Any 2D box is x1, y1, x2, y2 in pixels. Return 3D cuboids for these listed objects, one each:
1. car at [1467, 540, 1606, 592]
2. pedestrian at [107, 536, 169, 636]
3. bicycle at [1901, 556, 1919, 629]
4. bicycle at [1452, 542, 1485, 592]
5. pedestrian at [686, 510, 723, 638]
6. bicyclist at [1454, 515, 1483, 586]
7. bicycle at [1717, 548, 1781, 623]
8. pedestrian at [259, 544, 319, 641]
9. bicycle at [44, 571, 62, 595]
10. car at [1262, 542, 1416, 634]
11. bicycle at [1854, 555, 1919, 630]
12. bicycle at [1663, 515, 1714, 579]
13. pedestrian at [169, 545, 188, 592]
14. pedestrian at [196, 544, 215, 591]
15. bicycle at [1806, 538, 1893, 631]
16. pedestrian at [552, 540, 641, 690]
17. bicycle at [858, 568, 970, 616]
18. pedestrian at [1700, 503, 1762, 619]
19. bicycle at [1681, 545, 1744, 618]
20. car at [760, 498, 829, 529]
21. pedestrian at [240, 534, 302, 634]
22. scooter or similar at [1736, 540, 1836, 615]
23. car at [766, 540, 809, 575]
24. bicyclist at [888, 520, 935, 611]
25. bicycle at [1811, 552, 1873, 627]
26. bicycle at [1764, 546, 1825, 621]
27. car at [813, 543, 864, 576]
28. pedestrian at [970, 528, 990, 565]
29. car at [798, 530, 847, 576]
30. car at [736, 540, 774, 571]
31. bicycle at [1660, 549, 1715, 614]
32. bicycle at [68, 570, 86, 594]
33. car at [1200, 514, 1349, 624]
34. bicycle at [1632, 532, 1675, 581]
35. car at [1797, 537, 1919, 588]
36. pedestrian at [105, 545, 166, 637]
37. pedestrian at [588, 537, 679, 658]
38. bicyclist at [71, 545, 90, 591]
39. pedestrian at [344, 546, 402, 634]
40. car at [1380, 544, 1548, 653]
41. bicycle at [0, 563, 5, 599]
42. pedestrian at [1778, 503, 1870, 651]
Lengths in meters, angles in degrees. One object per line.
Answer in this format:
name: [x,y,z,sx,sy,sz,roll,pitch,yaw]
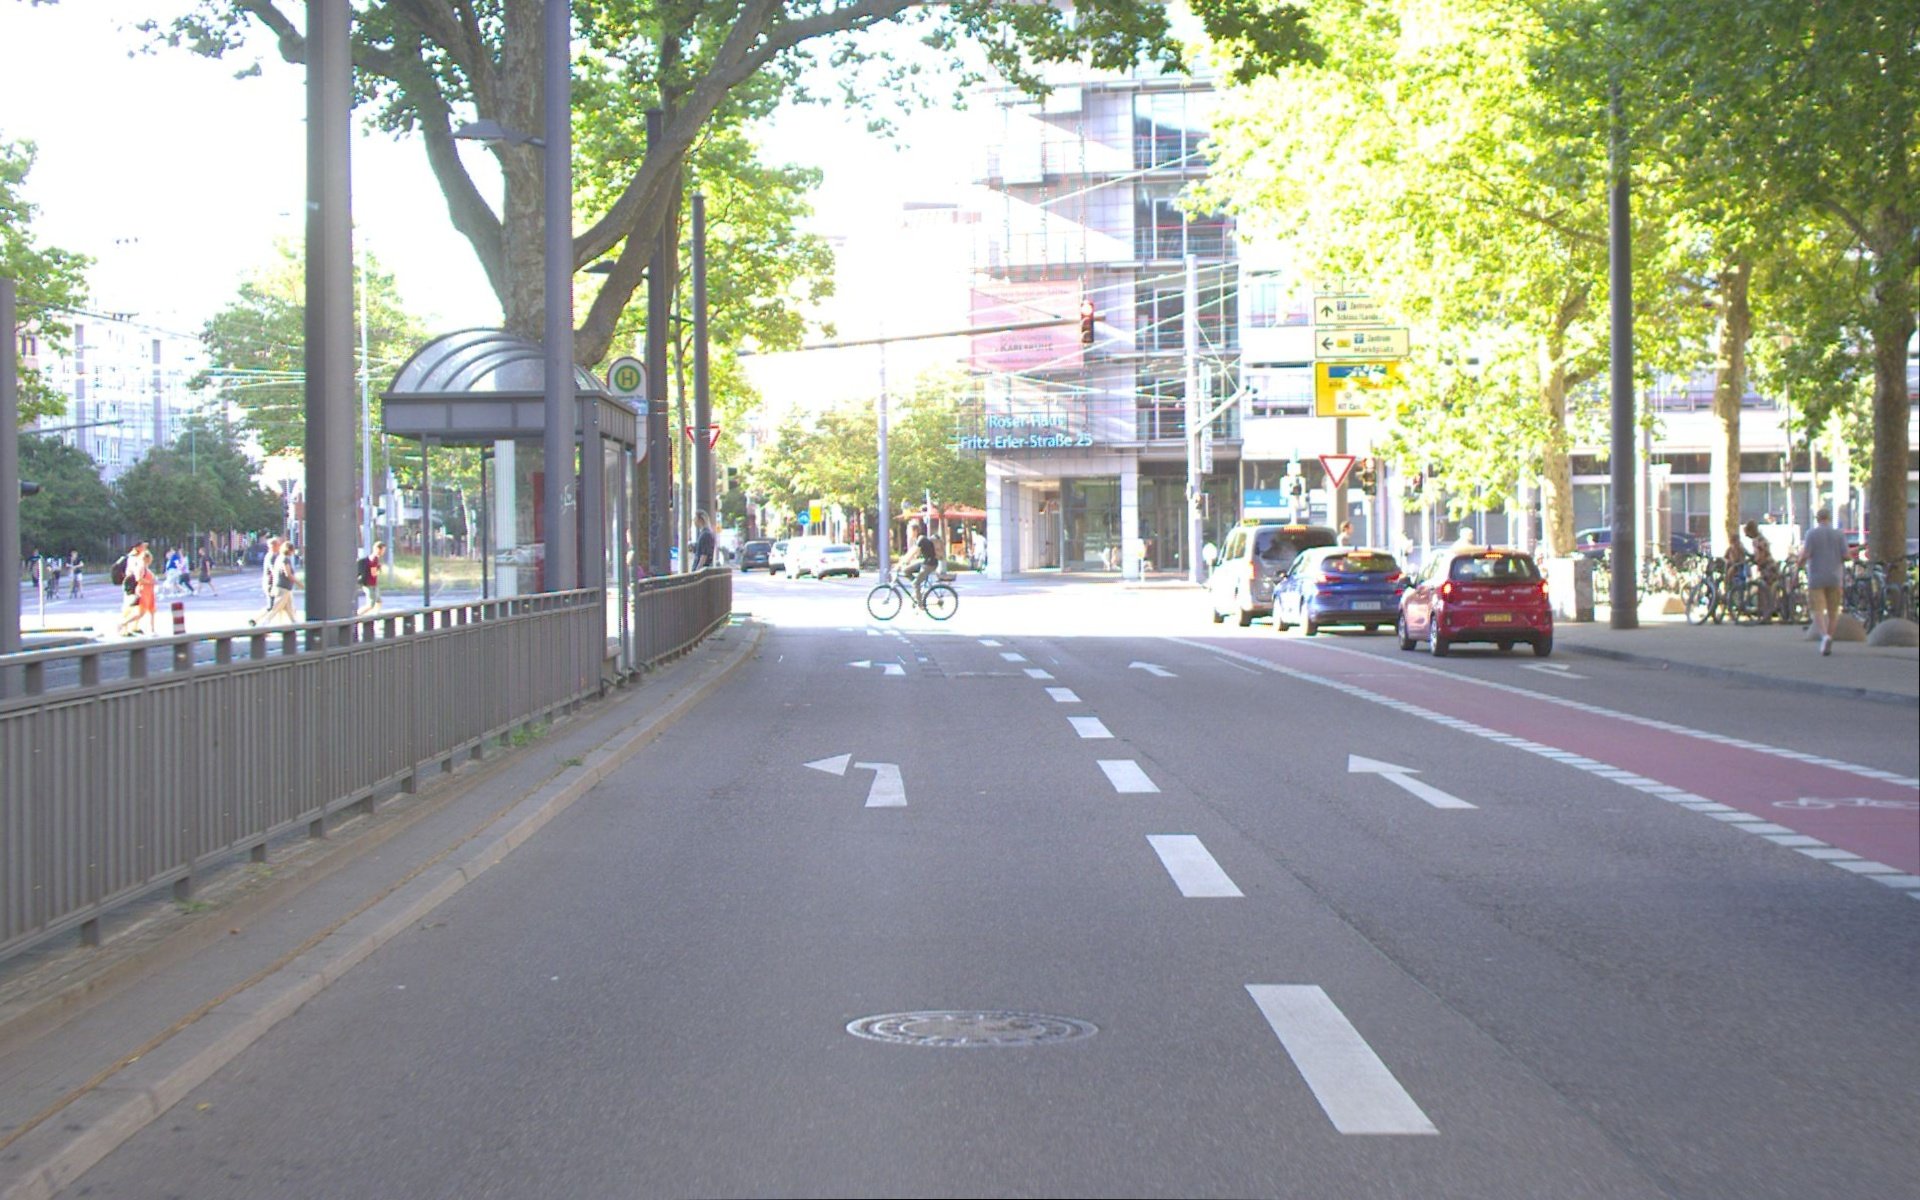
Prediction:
car: [18.604,-1.117,111.023,4.241,1.596,1.795,-1,1,4]
pedestrian: [-15.423,-0.267,64.521,1.073,1.865,0.739,0,0,-11]
bicycle: [13.850,-0.102,48.452,0.595,1.028,1.655,-1,1,-4]
bicycle: [11.646,-0.759,78.779,0.566,1.122,1.778,-1,1,3]
pedestrian: [-3.826,-0.388,51.455,0.509,1.894,0.760,1,0,-3]
bicyclist: [11.642,-1.144,78.746,0.562,1.611,0.821,-1,1,3]
bicycle: [12.253,-0.231,53.364,0.596,1.112,1.947,-1,1,24]
pedestrian: [-12.537,-0.148,64.240,1.071,1.800,0.758,0,0,-11]
bicycle: [-33.286,-0.624,126.182,0.512,0.878,1.840,-1,1,-12]
car: [6.359,-0.225,58.084,1.764,1.459,4.218,-1,1,-5]
bicycle: [13.151,-0.112,48.373,0.595,1.028,1.655,-1,1,-4]
bicycle: [14.899,-1.083,70.374,0.450,1.282,1.887,-2,1,-5]
pedestrian: [-27.306,-1.102,120.118,0.536,1.644,0.626,-2,1,-22]
pedestrian: [-26.447,-1.143,120.489,0.536,1.644,0.626,-2,1,-22]
bicycle: [12.479,-0.229,48.262,0.595,1.260,1.877,-1,1,-4]
pedestrian: [-3.411,0.140,32.297,0.734,1.383,0.640,1,0,1]
bicycle: [-0.917,-0.159,68.399,2.177,0.930,0.668,-1,1,-5]
pedestrian: [12.036,-0.613,53.662,0.807,1.779,0.657,-1,1,23]
bicycle: [11.849,-0.298,54.095,0.596,1.112,1.824,-1,1,24]
car: [-9.802,-5.141,203.750,3.763,1.744,1.781,1,0,11]
pedestrian: [-13.048,-0.304,65.128,1.145,1.887,0.833,0,0,-11]
scooter or similar: [13.249,-0.360,55.151,1.252,1.138,0.916,2,-2,-17]
car: [-8.412,-2.079,167.233,1.993,1.656,4.001,-1,1,-4]
bicyclist: [-0.973,-0.695,68.390,0.849,1.779,0.753,-1,1,-5]
bicycle: [13.577,-0.175,52.890,0.607,1.112,1.824,-1,1,24]
bicycle: [12.904,-0.259,53.122,0.596,1.112,1.824,-1,1,24]
car: [-5.143,-1.727,145.253,1.993,1.327,4.001,-1,1,-4]
pedestrian: [0.806,-2.132,137.877,0.739,1.460,0.537,-1,1,-5]
car: [-6.090,-2.091,152.215,1.993,1.985,4.001,-1,1,-4]
car: [-11.269,-2.453,188.917,1.993,1.656,4.001,-1,1,-4]
bicycle: [12.217,-0.318,57.777,0.627,1.053,1.572,-1,1,2]
bicycle: [-32.493,-0.662,126.535,0.512,0.878,1.840,-1,1,-12]
car: [5.859,-0.600,64.676,1.993,1.959,5.138,1,1,-4]
bicycle: [14.149,-0.899,70.153,0.450,0.979,1.477,-1,1,-5]
car: [29.144,-1.210,110.151,4.241,1.555,1.795,-1,1,2]
pedestrian: [-15.293,-0.167,63.776,1.072,1.676,0.758,0,0,-11]
pedestrian: [-3.847,-0.030,40.515,0.977,1.395,0.664,1,0,1]
bicyclist: [-32.399,-1.174,126.593,0.593,1.670,0.790,-1,1,-10]
pedestrian: [-11.431,-0.192,66.936,1.073,1.709,0.628,0,0,-7]
car: [6.979,-0.046,47.902,1.558,1.459,3.622,0,1,-4]
bicycle: [-33.929,-0.619,118.202,2.090,1.235,0.453,-2,1,-39]
pedestrian: [10.531,-0.285,41.924,0.872,1.779,0.809,-1,1,-3]
